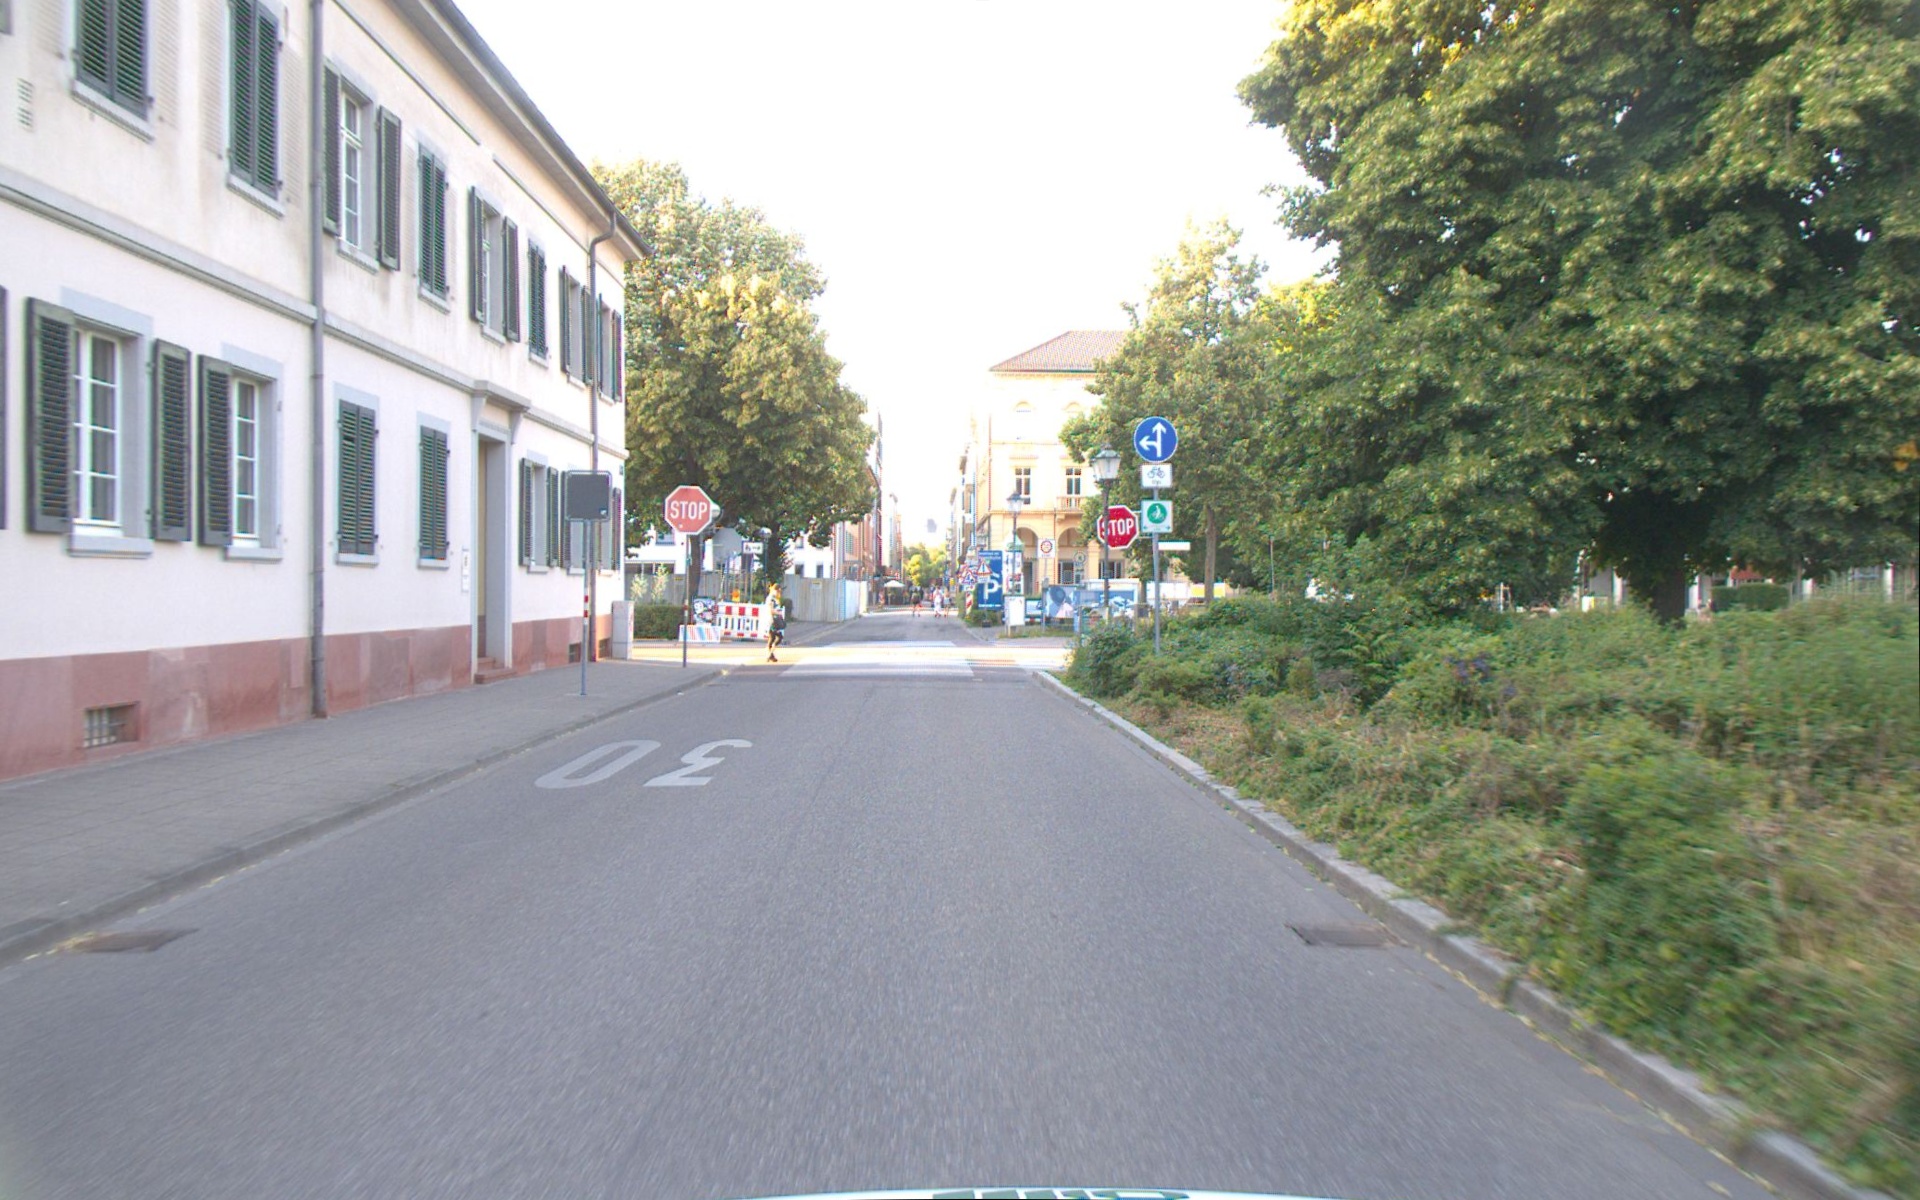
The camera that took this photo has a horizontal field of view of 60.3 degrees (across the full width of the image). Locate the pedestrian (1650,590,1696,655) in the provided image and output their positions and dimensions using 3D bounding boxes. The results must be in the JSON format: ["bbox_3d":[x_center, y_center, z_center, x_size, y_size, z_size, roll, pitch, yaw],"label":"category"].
[{"bbox_3d":[15.308,0.472,35.519,0.585,1.365,0.817,0,0,-7],"label":"pedestrian"}]

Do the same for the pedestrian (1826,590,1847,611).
[{"bbox_3d":[46.598,0.005,87.972,0.877,1.096,0.622,-1,0,16],"label":"pedestrian"}]

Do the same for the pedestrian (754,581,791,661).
[{"bbox_3d":[-4.114,0.452,36.290,0.719,1.719,0.836,0,0,-2],"label":"pedestrian"}]

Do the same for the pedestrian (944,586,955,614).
[{"bbox_3d":[-0.635,0.021,97.704,0.644,1.645,0.745,0,0,-1],"label":"pedestrian"}]

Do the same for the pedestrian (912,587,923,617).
[{"bbox_3d":[-2.545,0.139,99.083,0.644,1.790,0.745,0,0,-1],"label":"pedestrian"}]

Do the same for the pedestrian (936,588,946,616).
[{"bbox_3d":[-1.136,0.123,98.882,0.644,1.664,0.745,0,0,-1],"label":"pedestrian"}]

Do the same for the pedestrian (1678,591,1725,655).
[{"bbox_3d":[15.951,0.489,35.576,0.585,1.365,0.817,0,0,-7],"label":"pedestrian"}]

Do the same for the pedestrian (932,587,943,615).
[{"bbox_3d":[-1.332,0.067,97.708,0.644,1.645,0.745,0,0,-1],"label":"pedestrian"}]
